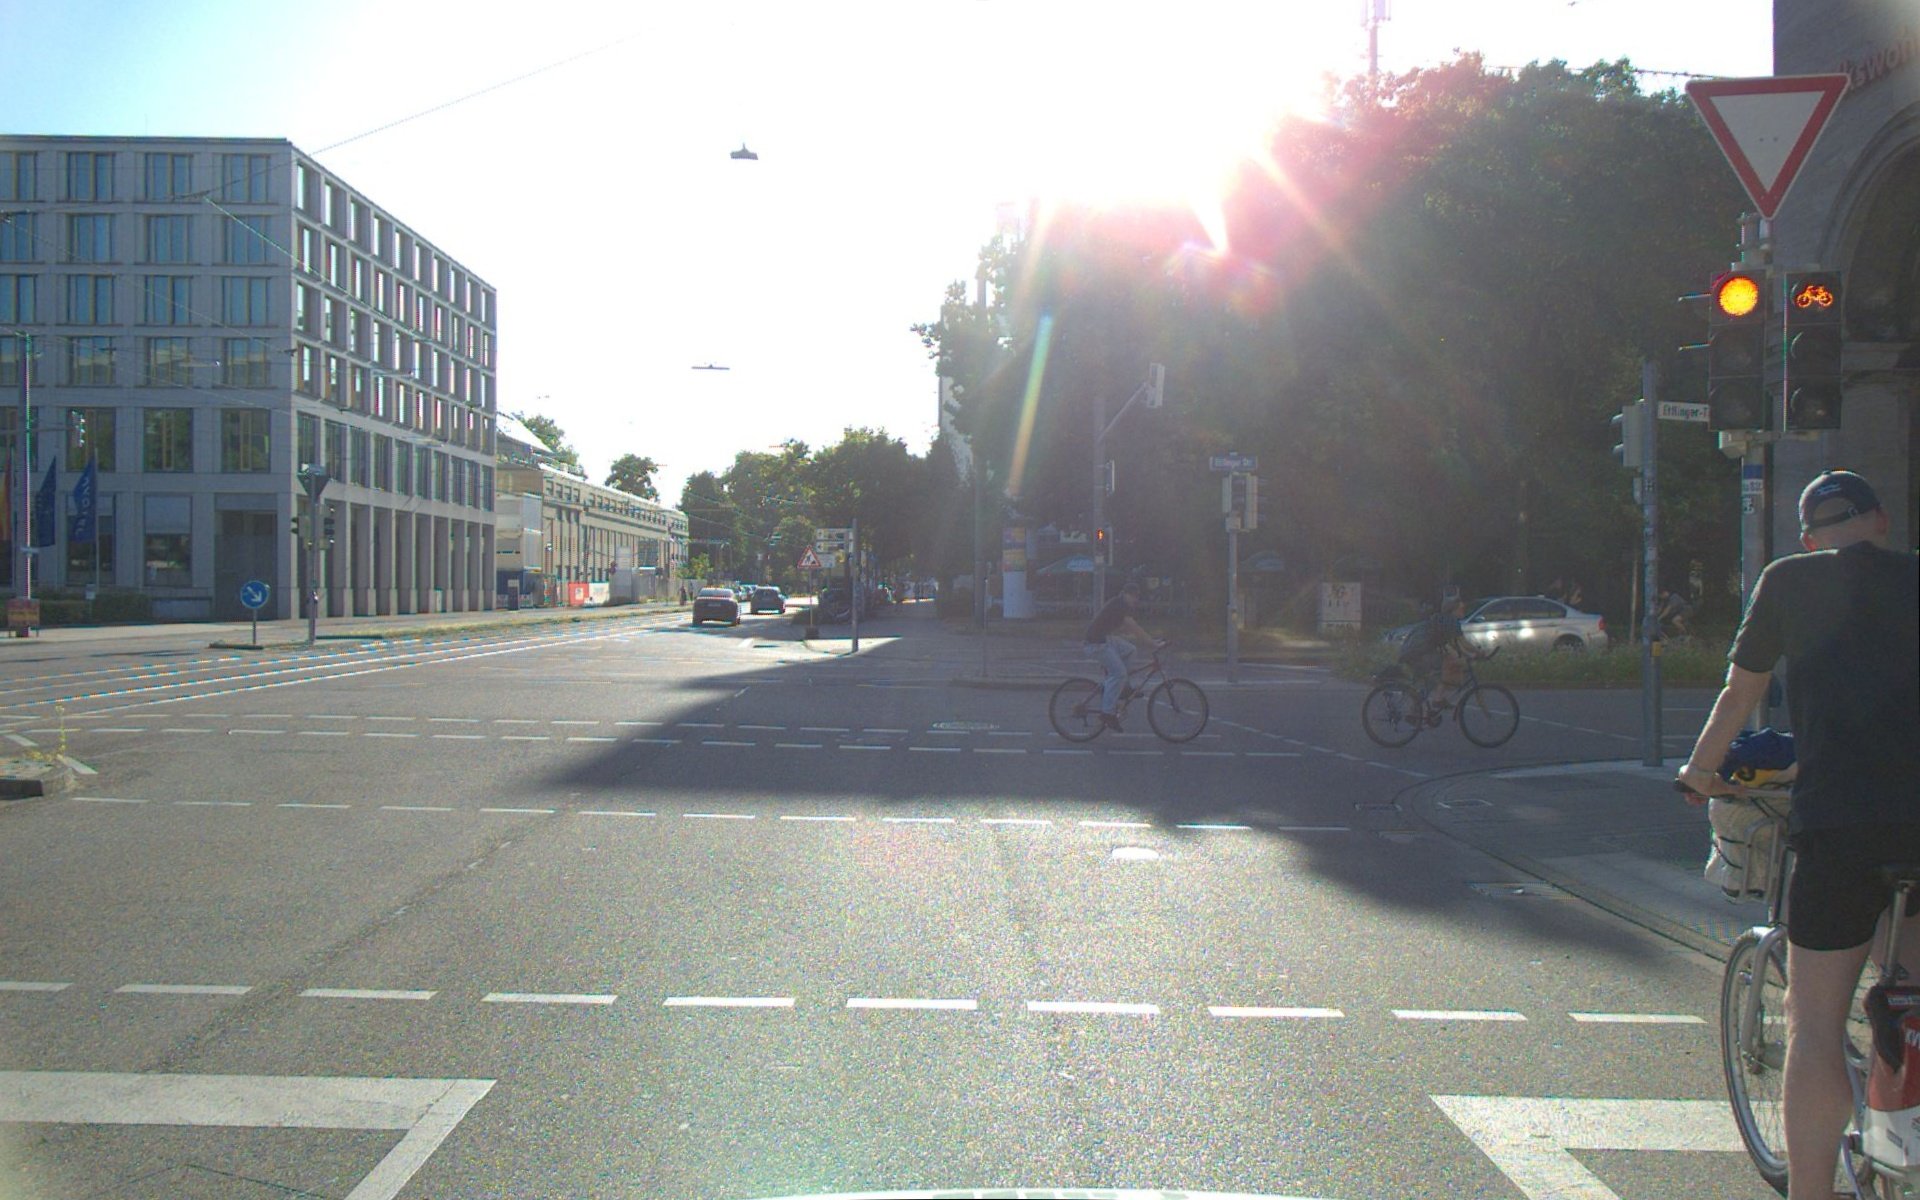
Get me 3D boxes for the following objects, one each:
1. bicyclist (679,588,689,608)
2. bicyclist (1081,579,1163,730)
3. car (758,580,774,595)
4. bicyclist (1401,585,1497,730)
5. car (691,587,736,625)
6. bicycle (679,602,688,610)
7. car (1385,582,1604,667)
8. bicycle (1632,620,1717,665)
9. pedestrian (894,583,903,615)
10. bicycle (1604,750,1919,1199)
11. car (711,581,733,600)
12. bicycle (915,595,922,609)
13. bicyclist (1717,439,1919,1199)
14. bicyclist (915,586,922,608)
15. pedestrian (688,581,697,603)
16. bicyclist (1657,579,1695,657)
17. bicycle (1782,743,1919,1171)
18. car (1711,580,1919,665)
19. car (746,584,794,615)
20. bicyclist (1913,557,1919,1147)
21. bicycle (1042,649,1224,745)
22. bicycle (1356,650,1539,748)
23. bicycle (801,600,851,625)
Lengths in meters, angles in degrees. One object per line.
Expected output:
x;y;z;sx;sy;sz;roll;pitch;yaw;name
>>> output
-19.569;-0.149;117.154;0.584;1.401;0.637;1;-1;-2;bicyclist
1.689;0.556;17.322;0.748;1.550;0.606;0;0;-5;bicyclist
-22.818;-1.431;194.346;1.659;1.748;4.244;1;0;-4;car
5.066;0.583;17.169;0.783;1.476;0.616;0;0;-6;bicyclist
-9.966;0.221;67.011;1.628;1.481;4.426;1;0;-7;car
-19.574;0.439;117.138;0.491;0.524;1.257;1;0;-1;bicycle
10.786;0.480;33.546;3.912;1.639;1.650;0;0;-1;car
15.757;0.936;36.474;1.631;0.980;0.534;0;0;5;bicycle
-3.631;-0.068;97.649;0.454;1.845;0.502;0;0;-5;pedestrian
2.087;0.984;3.874;0.505;1.096;1.728;1;0;1;bicycle
-22.459;-0.894;156.097;1.659;1.748;4.244;1;0;-4;car
-3.330;0.168;133.600;0.563;1.096;1.830;0;0;-1;bicycle
2.106;0.582;3.716;0.547;1.830;0.550;1;0;1;bicyclist
-3.331;-0.230;133.630;0.558;1.721;0.699;0;0;-1;bicyclist
-25.210;-0.740;155.887;0.660;2.049;0.751;1;-1;-3;pedestrian
15.789;0.388;36.475;0.630;1.712;0.507;0;0;5;bicyclist
2.875;1.003;4.322;0.523;1.096;1.750;1;0;-2;bicycle
17.483;0.439;33.534;3.770;1.639;1.650;0;0;-1;car
-10.758;-0.043;93.931;1.853;1.592;4.810;3;1;3;car
2.900;0.631;4.215;0.546;1.721;0.640;1;0;-2;bicyclist
1.806;1.009;17.329;1.821;0.951;0.559;0;0;-6;bicycle
5.047;1.014;17.168;1.709;0.951;0.645;0;0;-5;bicycle
-5.473;0.510;67.368;1.976;0.907;0.650;-2;-1;27;bicycle
